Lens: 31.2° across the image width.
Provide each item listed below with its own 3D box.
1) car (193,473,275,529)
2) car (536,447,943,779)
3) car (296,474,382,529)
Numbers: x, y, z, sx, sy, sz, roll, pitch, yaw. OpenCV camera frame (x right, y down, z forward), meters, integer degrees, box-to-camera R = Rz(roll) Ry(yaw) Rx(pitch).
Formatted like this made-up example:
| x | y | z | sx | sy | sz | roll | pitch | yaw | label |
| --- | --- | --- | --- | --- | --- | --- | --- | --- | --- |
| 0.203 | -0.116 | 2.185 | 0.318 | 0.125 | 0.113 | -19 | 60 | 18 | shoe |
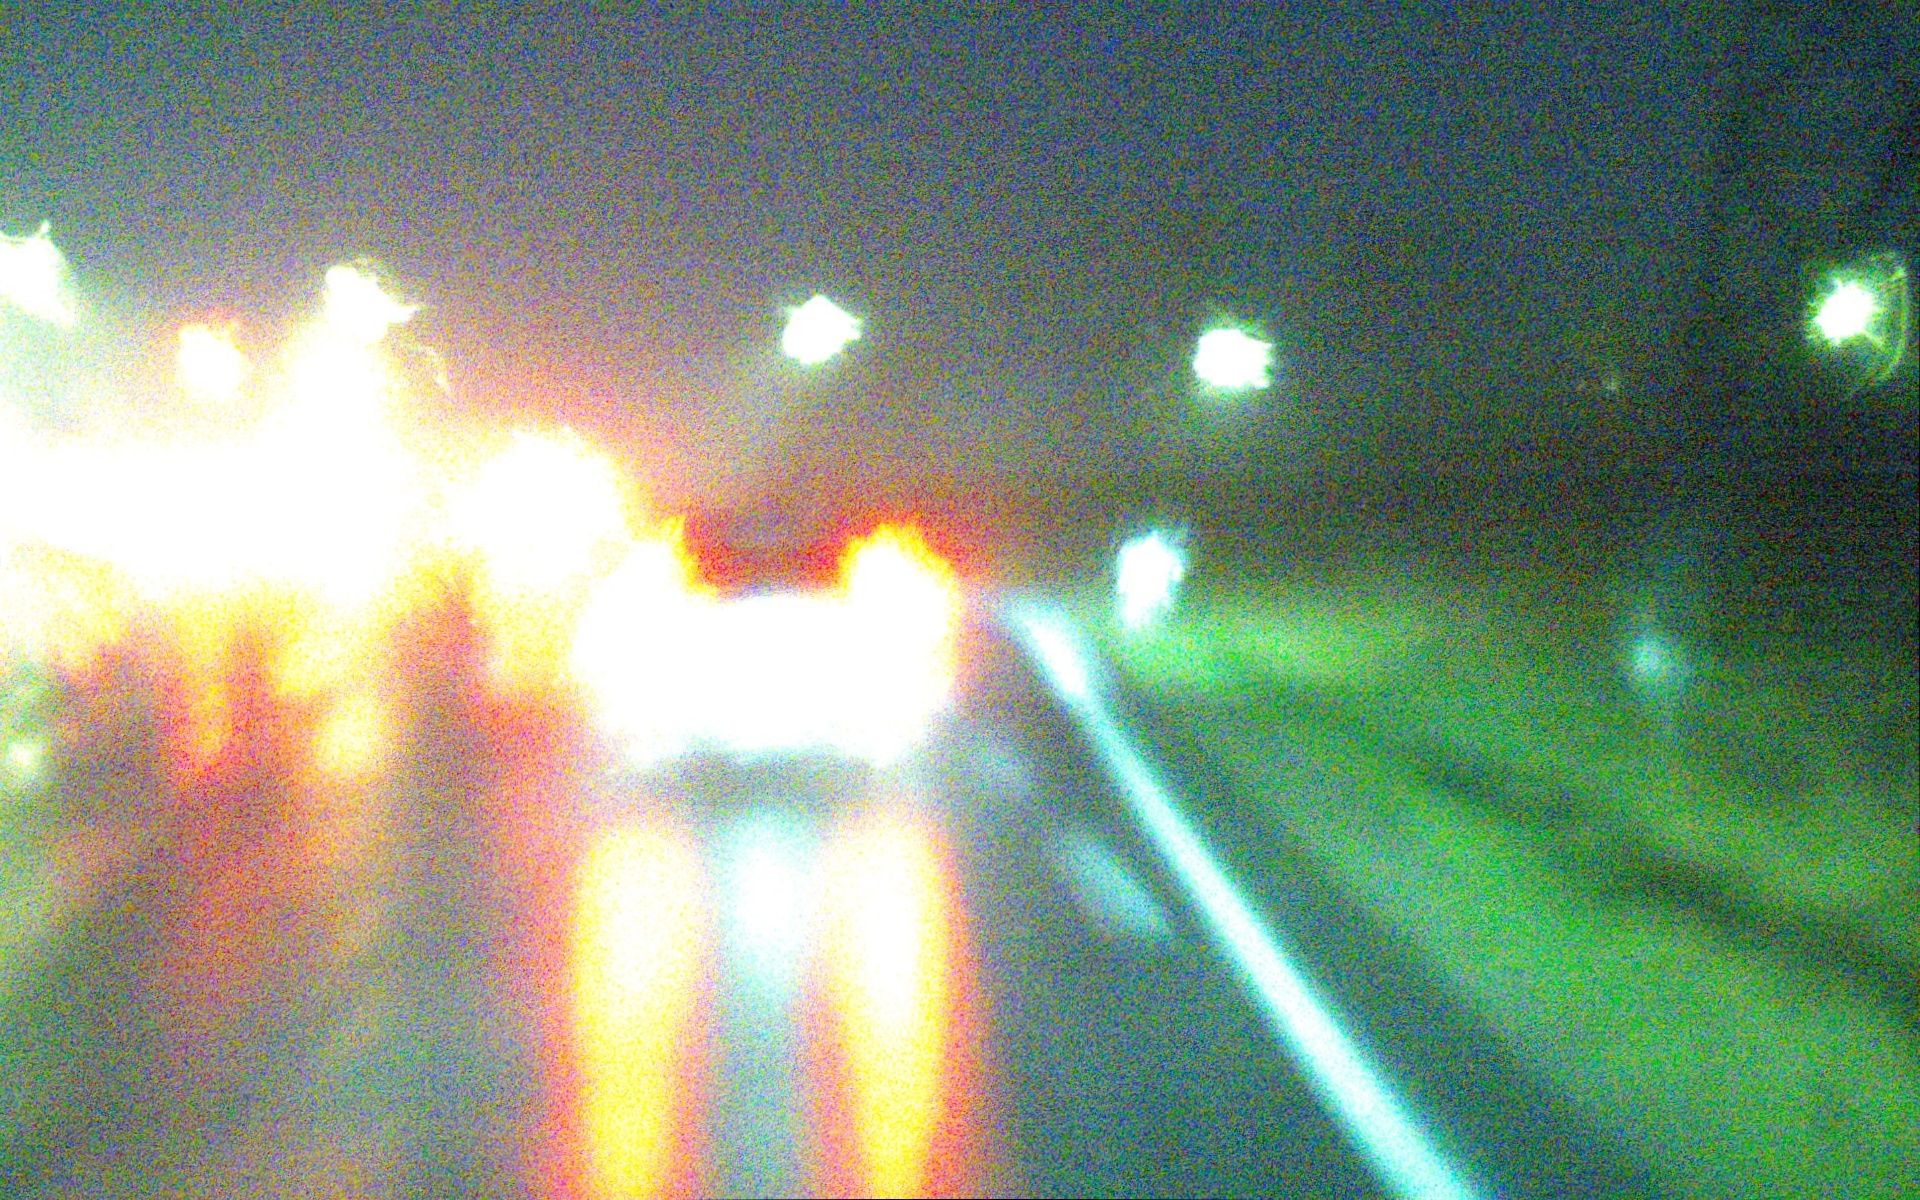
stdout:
| x | y | z | sx | sy | sz | roll | pitch | yaw | label |
| --- | --- | --- | --- | --- | --- | --- | --- | --- | --- |
| -23.229 | -3.189 | 109.930 | 1.993 | 1.622 | 4.986 | -3 | 3 | -18 | car |
| -1.165 | 0.031 | 19.452 | 1.993 | 1.622 | 4.985 | 0 | 1 | -2 | car |
| -19.916 | -3.188 | 110.140 | 1.993 | 1.622 | 4.986 | -3 | 3 | -18 | car |
